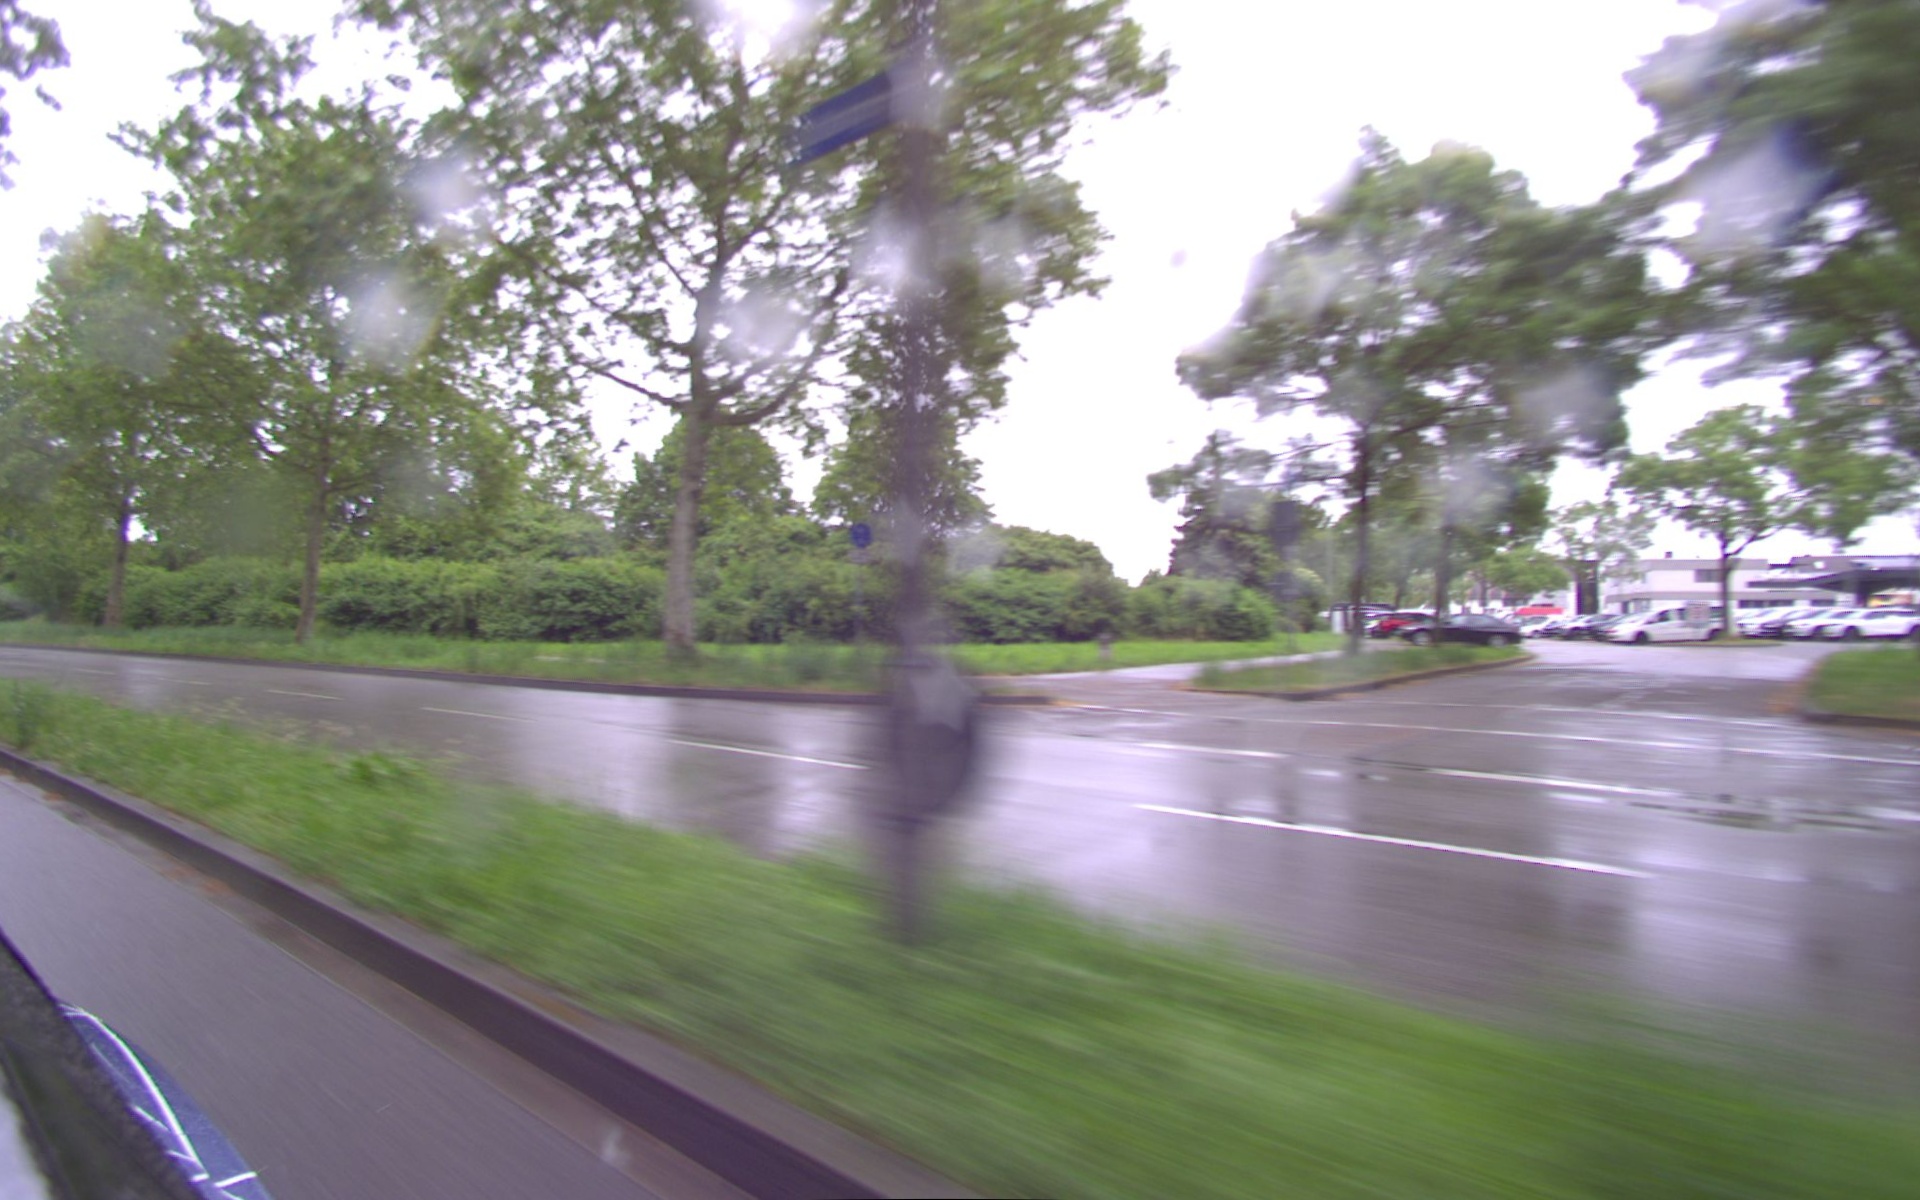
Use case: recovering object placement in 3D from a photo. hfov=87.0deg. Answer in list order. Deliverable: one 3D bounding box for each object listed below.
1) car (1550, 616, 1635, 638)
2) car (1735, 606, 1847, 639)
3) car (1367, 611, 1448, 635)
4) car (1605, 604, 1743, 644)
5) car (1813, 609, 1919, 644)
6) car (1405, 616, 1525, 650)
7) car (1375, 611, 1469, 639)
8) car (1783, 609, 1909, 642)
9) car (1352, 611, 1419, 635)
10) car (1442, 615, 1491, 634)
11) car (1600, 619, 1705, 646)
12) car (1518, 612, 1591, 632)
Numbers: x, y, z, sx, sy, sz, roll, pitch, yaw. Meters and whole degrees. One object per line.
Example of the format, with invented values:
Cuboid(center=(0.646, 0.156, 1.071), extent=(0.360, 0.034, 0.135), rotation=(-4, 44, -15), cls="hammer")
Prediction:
Cuboid(center=(38.724, 1.651, 62.064), extent=(4.173, 1.368, 1.587), rotation=(-1, -1, 20), cls="car")
Cuboid(center=(43.355, 1.165, 52.896), extent=(4.170, 1.669, 1.589), rotation=(-1, -1, 18), cls="car")
Cuboid(center=(25.849, 1.338, 58.592), extent=(4.173, 1.368, 1.587), rotation=(-1, -1, 20), cls="car")
Cuboid(center=(35.061, 1.192, 49.846), extent=(5.190, 1.878, 1.782), rotation=(-1, -1, 19), cls="car")
Cuboid(center=(41.487, 1.192, 45.738), extent=(4.170, 1.506, 1.589), rotation=(-1, -1, 18), cls="car")
Cuboid(center=(20.881, 1.346, 42.053), extent=(4.260, 1.368, 1.587), rotation=(-1, -1, 20), cls="car")
Cuboid(center=(23.308, 1.283, 51.231), extent=(4.173, 1.368, 1.587), rotation=(-1, -1, 20), cls="car")
Cuboid(center=(42.088, 1.220, 48.184), extent=(4.170, 1.506, 1.589), rotation=(-1, -1, 18), cls="car")
Cuboid(center=(29.340, 1.580, 69.895), extent=(4.173, 1.640, 1.587), rotation=(-1, -1, 20), cls="car")
Cuboid(center=(50.218, 2.432, 100.381), extent=(4.173, 1.776, 1.587), rotation=(-1, -1, 20), cls="car")
Cuboid(center=(36.044, 1.677, 52.793), extent=(4.173, 1.368, 1.587), rotation=(-1, -1, 20), cls="car")
Cuboid(center=(41.793, 1.536, 71.229), extent=(4.173, 1.368, 1.587), rotation=(-1, -1, 20), cls="car")
